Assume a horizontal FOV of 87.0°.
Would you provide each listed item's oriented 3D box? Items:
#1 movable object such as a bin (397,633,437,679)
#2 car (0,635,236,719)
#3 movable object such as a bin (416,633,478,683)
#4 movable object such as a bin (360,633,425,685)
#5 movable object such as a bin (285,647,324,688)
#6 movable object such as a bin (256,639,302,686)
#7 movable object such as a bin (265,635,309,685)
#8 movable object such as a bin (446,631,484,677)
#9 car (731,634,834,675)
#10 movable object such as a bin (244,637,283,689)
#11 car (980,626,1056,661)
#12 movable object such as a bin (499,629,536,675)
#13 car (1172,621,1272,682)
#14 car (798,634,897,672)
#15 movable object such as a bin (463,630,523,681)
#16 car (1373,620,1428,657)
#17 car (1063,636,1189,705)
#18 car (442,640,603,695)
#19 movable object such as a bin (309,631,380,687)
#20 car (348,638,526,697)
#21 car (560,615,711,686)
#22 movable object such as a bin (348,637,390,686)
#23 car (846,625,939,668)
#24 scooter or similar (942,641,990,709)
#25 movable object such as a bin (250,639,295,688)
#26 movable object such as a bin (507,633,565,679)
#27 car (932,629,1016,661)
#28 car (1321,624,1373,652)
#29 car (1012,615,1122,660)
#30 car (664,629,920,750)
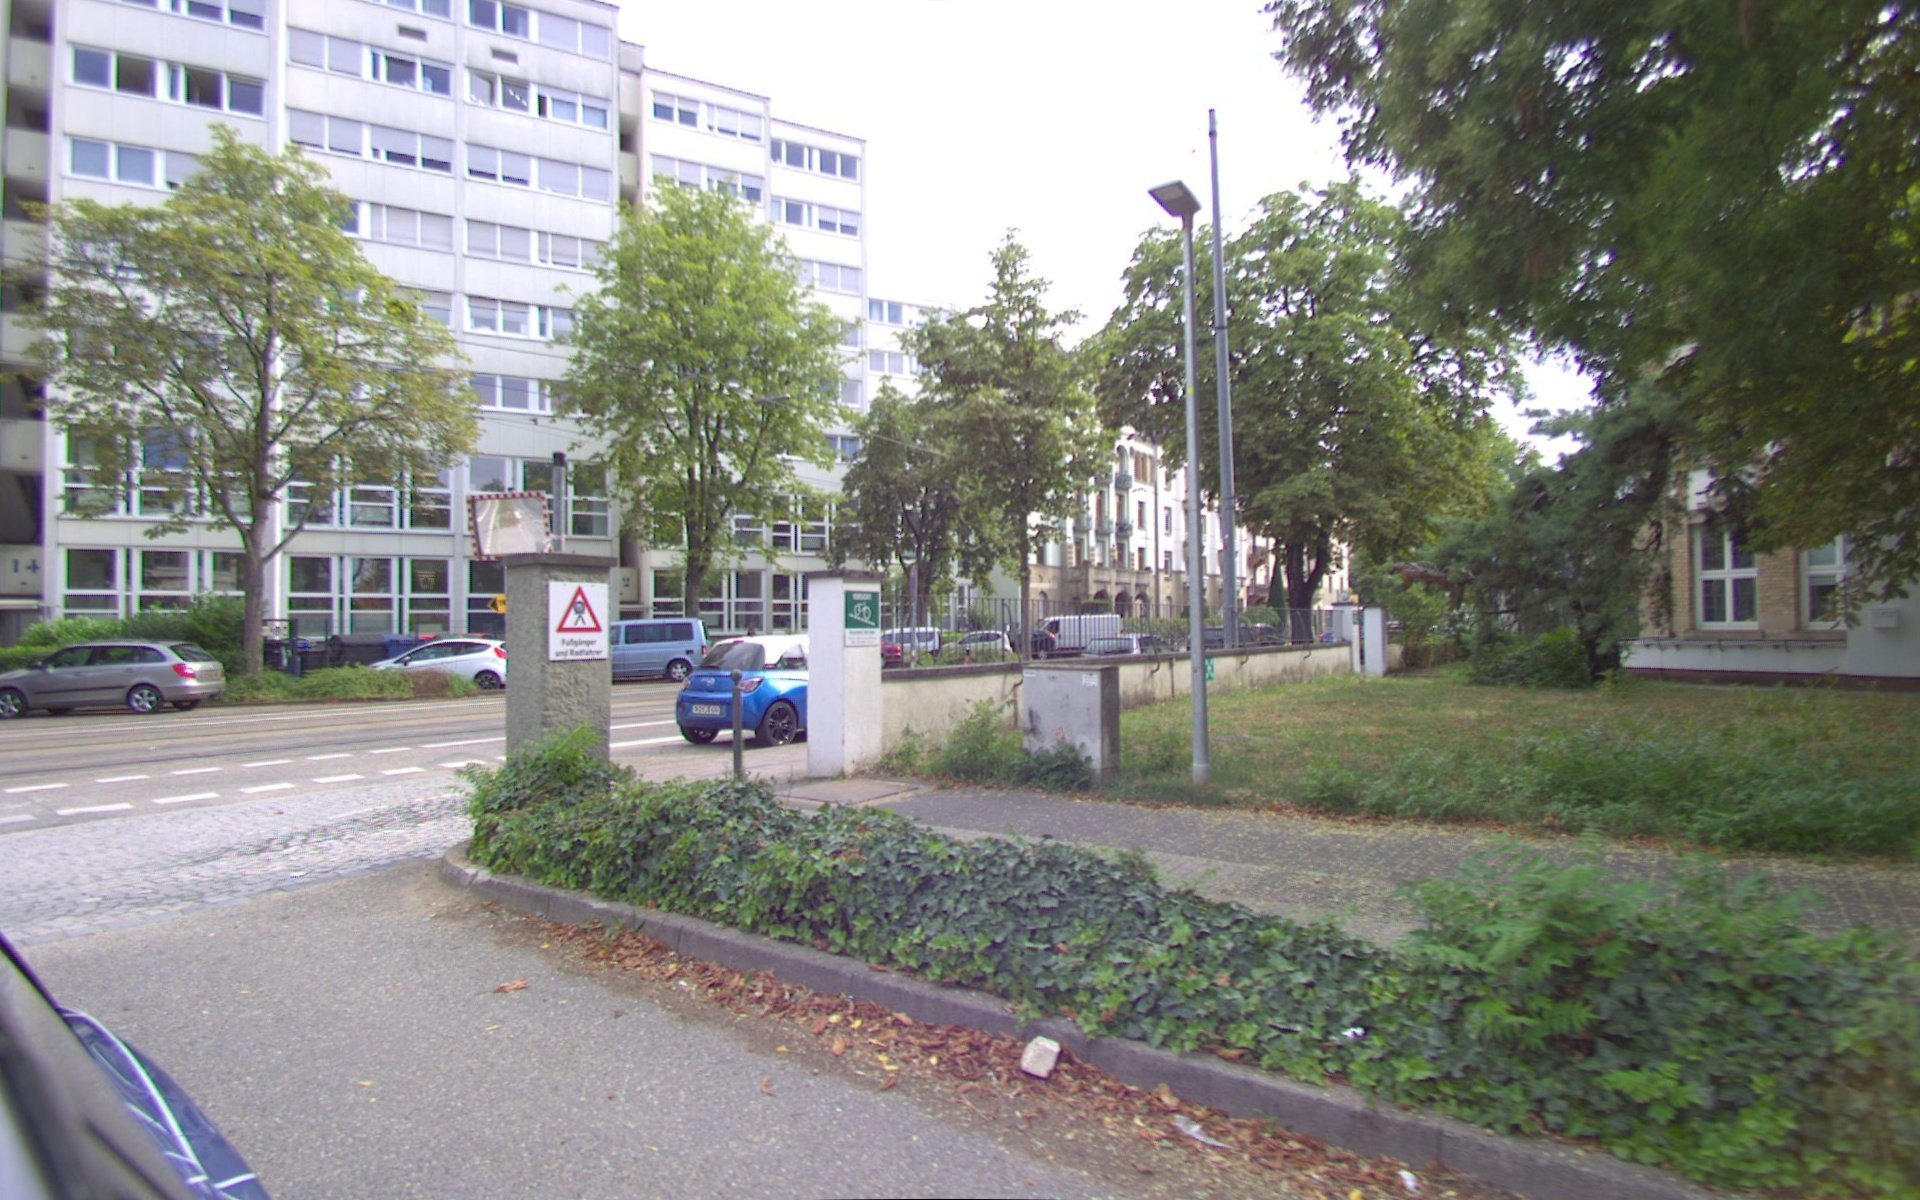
[{"bbox_3d":[-18.684,1.913,34.846,1.154,1.525,1.183,0,-2,-27],"label":"movable object such as a bin"},{"bbox_3d":[-17.553,1.553,20.849,3.986,1.549,1.599,-1,-2,-10],"label":"car"},{"bbox_3d":[-16.195,1.824,31.947,1.334,1.514,1.336,-3,-2,39],"label":"movable object such as a bin"},{"bbox_3d":[-17.238,1.779,30.755,1.334,1.515,1.320,-3,-2,39],"label":"movable object such as a bin"},{"bbox_3d":[-18.357,1.884,28.359,0.786,1.114,0.733,-3,-3,41],"label":"movable object such as a bin"},{"bbox_3d":[-21.164,1.926,31.488,1.160,1.380,1.178,0,-2,-34],"label":"movable object such as a bin"},{"bbox_3d":[-21.772,1.926,32.728,1.160,1.580,1.178,0,-2,-34],"label":"movable object such as a bin"},{"bbox_3d":[-17.413,1.884,35.601,1.154,1.580,1.183,0,-2,-27],"label":"movable object such as a bin"},{"bbox_3d":[-6.485,1.961,36.996,3.586,1.340,1.771,-1,-1,-10],"label":"car"},{"bbox_3d":[-20.002,1.798,29.077,0.897,1.417,1.027,0,-2,-34],"label":"movable object such as a bin"},{"bbox_3d":[2.929,2.153,50.388,3.604,1.601,1.763,-1,-1,9],"label":"car"},{"bbox_3d":[-15.875,1.860,36.329,1.154,1.580,1.183,0,-2,-27],"label":"movable object such as a bin"},{"bbox_3d":[7.703,1.462,29.567,1.656,1.646,3.682,-2,-2,34],"label":"car"},{"bbox_3d":[-4.377,2.027,39.336,3.712,1.349,1.817,-1,-1,-6],"label":"car"},{"bbox_3d":[-15.277,1.788,33.084,1.334,1.608,1.336,-3,-2,39],"label":"movable object such as a bin"},{"bbox_3d":[20.821,1.789,47.808,1.656,1.646,3.860,-2,-2,34],"label":"car"},{"bbox_3d":[4.023,1.624,24.188,1.629,1.476,3.532,-2,-2,34],"label":"car"},{"bbox_3d":[-12.389,1.906,28.854,3.908,1.398,1.818,-1,-3,-10],"label":"car"},{"bbox_3d":[-17.937,1.700,29.503,1.329,1.541,1.397,-3,-2,39],"label":"movable object such as a bin"},{"bbox_3d":[-13.503,1.719,26.331,3.799,1.403,1.638,-1,-2,-11],"label":"car"},{"bbox_3d":[-10.006,1.543,31.508,4.275,2.080,2.004,-1,-2,-10],"label":"car"},{"bbox_3d":[-20.032,2.072,34.329,1.154,1.580,1.183,0,-2,-27],"label":"movable object such as a bin"},{"bbox_3d":[-2.819,1.905,41.749,3.712,1.630,1.817,-1,-1,-6],"label":"car"},{"bbox_3d":[0.100,1.349,18.210,0.363,1.176,1.008,0,-5,-31],"label":"scooter or similar"},{"bbox_3d":[-20.563,1.875,30.290,1.100,1.402,1.066,0,-2,-34],"label":"movable object such as a bin"},{"bbox_3d":[-14.379,1.884,34.323,1.334,1.469,1.382,-3,-2,39],"label":"movable object such as a bin"},{"bbox_3d":[0.626,2.082,47.315,3.586,1.340,1.771,-1,-1,-10],"label":"car"},{"bbox_3d":[22.033,2.129,57.574,1.734,1.508,4.325,-2,-2,35],"label":"car"},{"bbox_3d":[5.555,1.948,53.005,5.355,2.192,2.151,-1,-1,-6],"label":"car"},{"bbox_3d":[-2.286,1.186,14.524,1.629,1.476,3.560,-2,-2,34],"label":"car"}]
